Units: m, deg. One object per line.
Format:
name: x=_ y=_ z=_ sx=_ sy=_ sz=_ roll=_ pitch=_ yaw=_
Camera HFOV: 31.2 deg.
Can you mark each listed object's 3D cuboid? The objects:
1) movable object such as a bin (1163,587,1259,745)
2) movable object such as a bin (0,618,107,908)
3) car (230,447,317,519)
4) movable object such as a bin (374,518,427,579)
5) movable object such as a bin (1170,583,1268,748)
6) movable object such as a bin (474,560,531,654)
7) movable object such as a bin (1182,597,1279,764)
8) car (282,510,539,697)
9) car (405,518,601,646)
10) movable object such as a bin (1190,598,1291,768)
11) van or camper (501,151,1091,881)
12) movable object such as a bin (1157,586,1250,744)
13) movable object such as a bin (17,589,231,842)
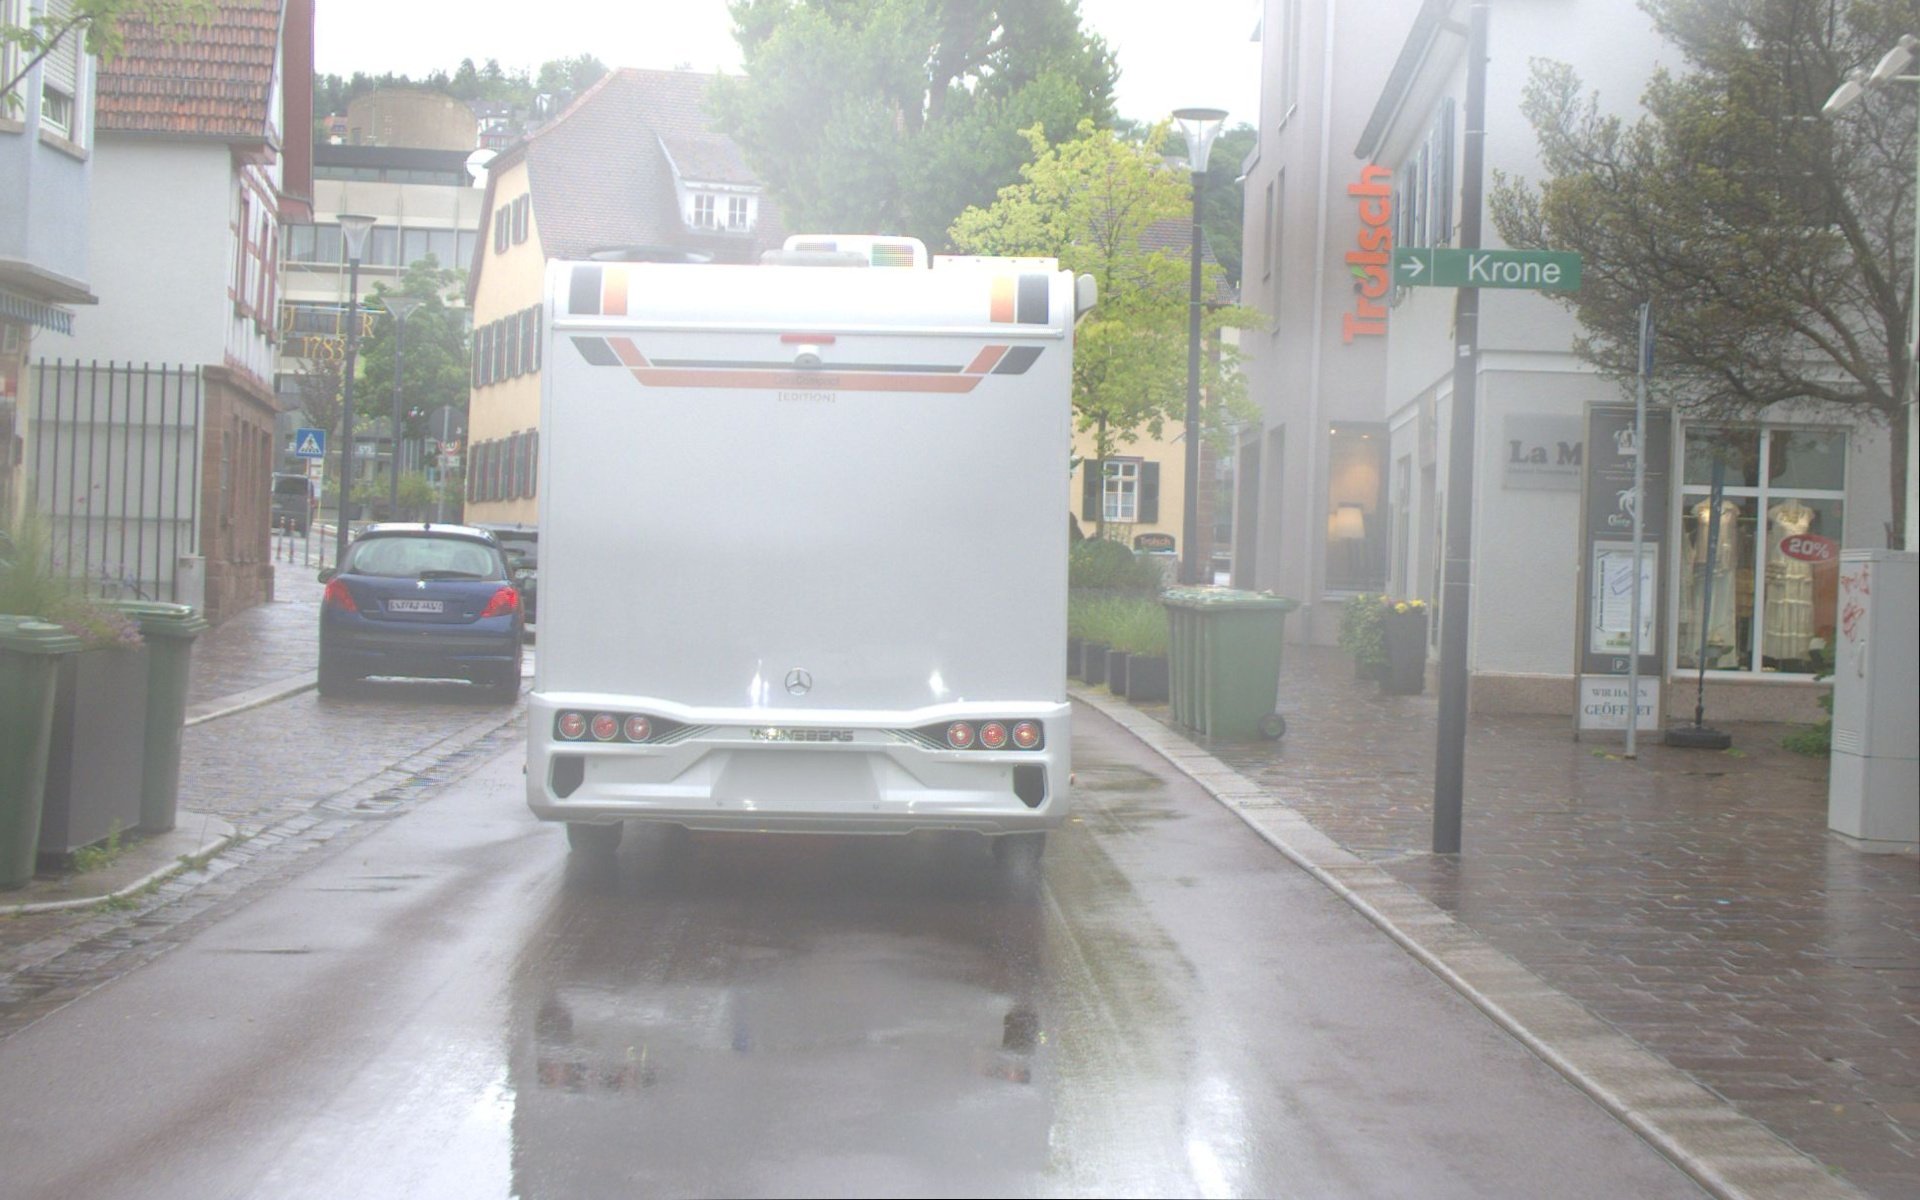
movable object such as a bin: x=1.991 y=0.518 z=27.282 sx=0.678 sy=1.228 sz=0.565 roll=1 pitch=0 yaw=-1
movable object such as a bin: x=-3.824 y=0.624 z=13.499 sx=0.814 sy=1.102 sz=0.610 roll=1 pitch=0 yaw=-5
car: x=-20.823 y=-3.514 z=104.169 sx=1.993 sy=2.007 sz=4.001 roll=1 pitch=0 yaw=-19
movable object such as a bin: x=-9.824 y=-0.900 z=60.379 sx=0.818 sy=1.047 sz=0.700 roll=1 pitch=0 yaw=-16
movable object such as a bin: x=2.009 y=0.506 z=26.717 sx=0.678 sy=1.252 sz=0.543 roll=1 pitch=0 yaw=-1
movable object such as a bin: x=-5.485 y=0.085 z=41.204 sx=0.630 sy=1.109 sz=0.734 roll=1 pitch=0 yaw=-9
movable object such as a bin: x=2.055 y=0.605 z=26.163 sx=0.658 sy=1.241 sz=0.543 roll=1 pitch=0 yaw=-1
car: x=-4.756 y=-0.012 z=30.254 sx=1.993 sy=1.467 sz=4.001 roll=2 pitch=1 yaw=-6
car: x=-6.048 y=-0.266 z=45.103 sx=1.993 sy=1.489 sz=4.002 roll=3 pitch=1 yaw=-15
movable object such as a bin: x=2.080 y=0.610 z=25.577 sx=0.658 sy=1.234 sz=0.621 roll=1 pitch=0 yaw=-1
van or camper: x=-0.865 y=-0.336 z=17.138 sx=2.325 sy=2.909 sz=6.394 roll=1 pitch=0 yaw=-4
movable object such as a bin: x=1.970 y=0.521 z=27.857 sx=0.678 sy=1.246 sz=0.565 roll=1 pitch=0 yaw=-1
movable object such as a bin: x=-3.898 y=0.531 z=16.077 sx=0.815 sy=1.102 sz=0.610 roll=5 pitch=0 yaw=-5
